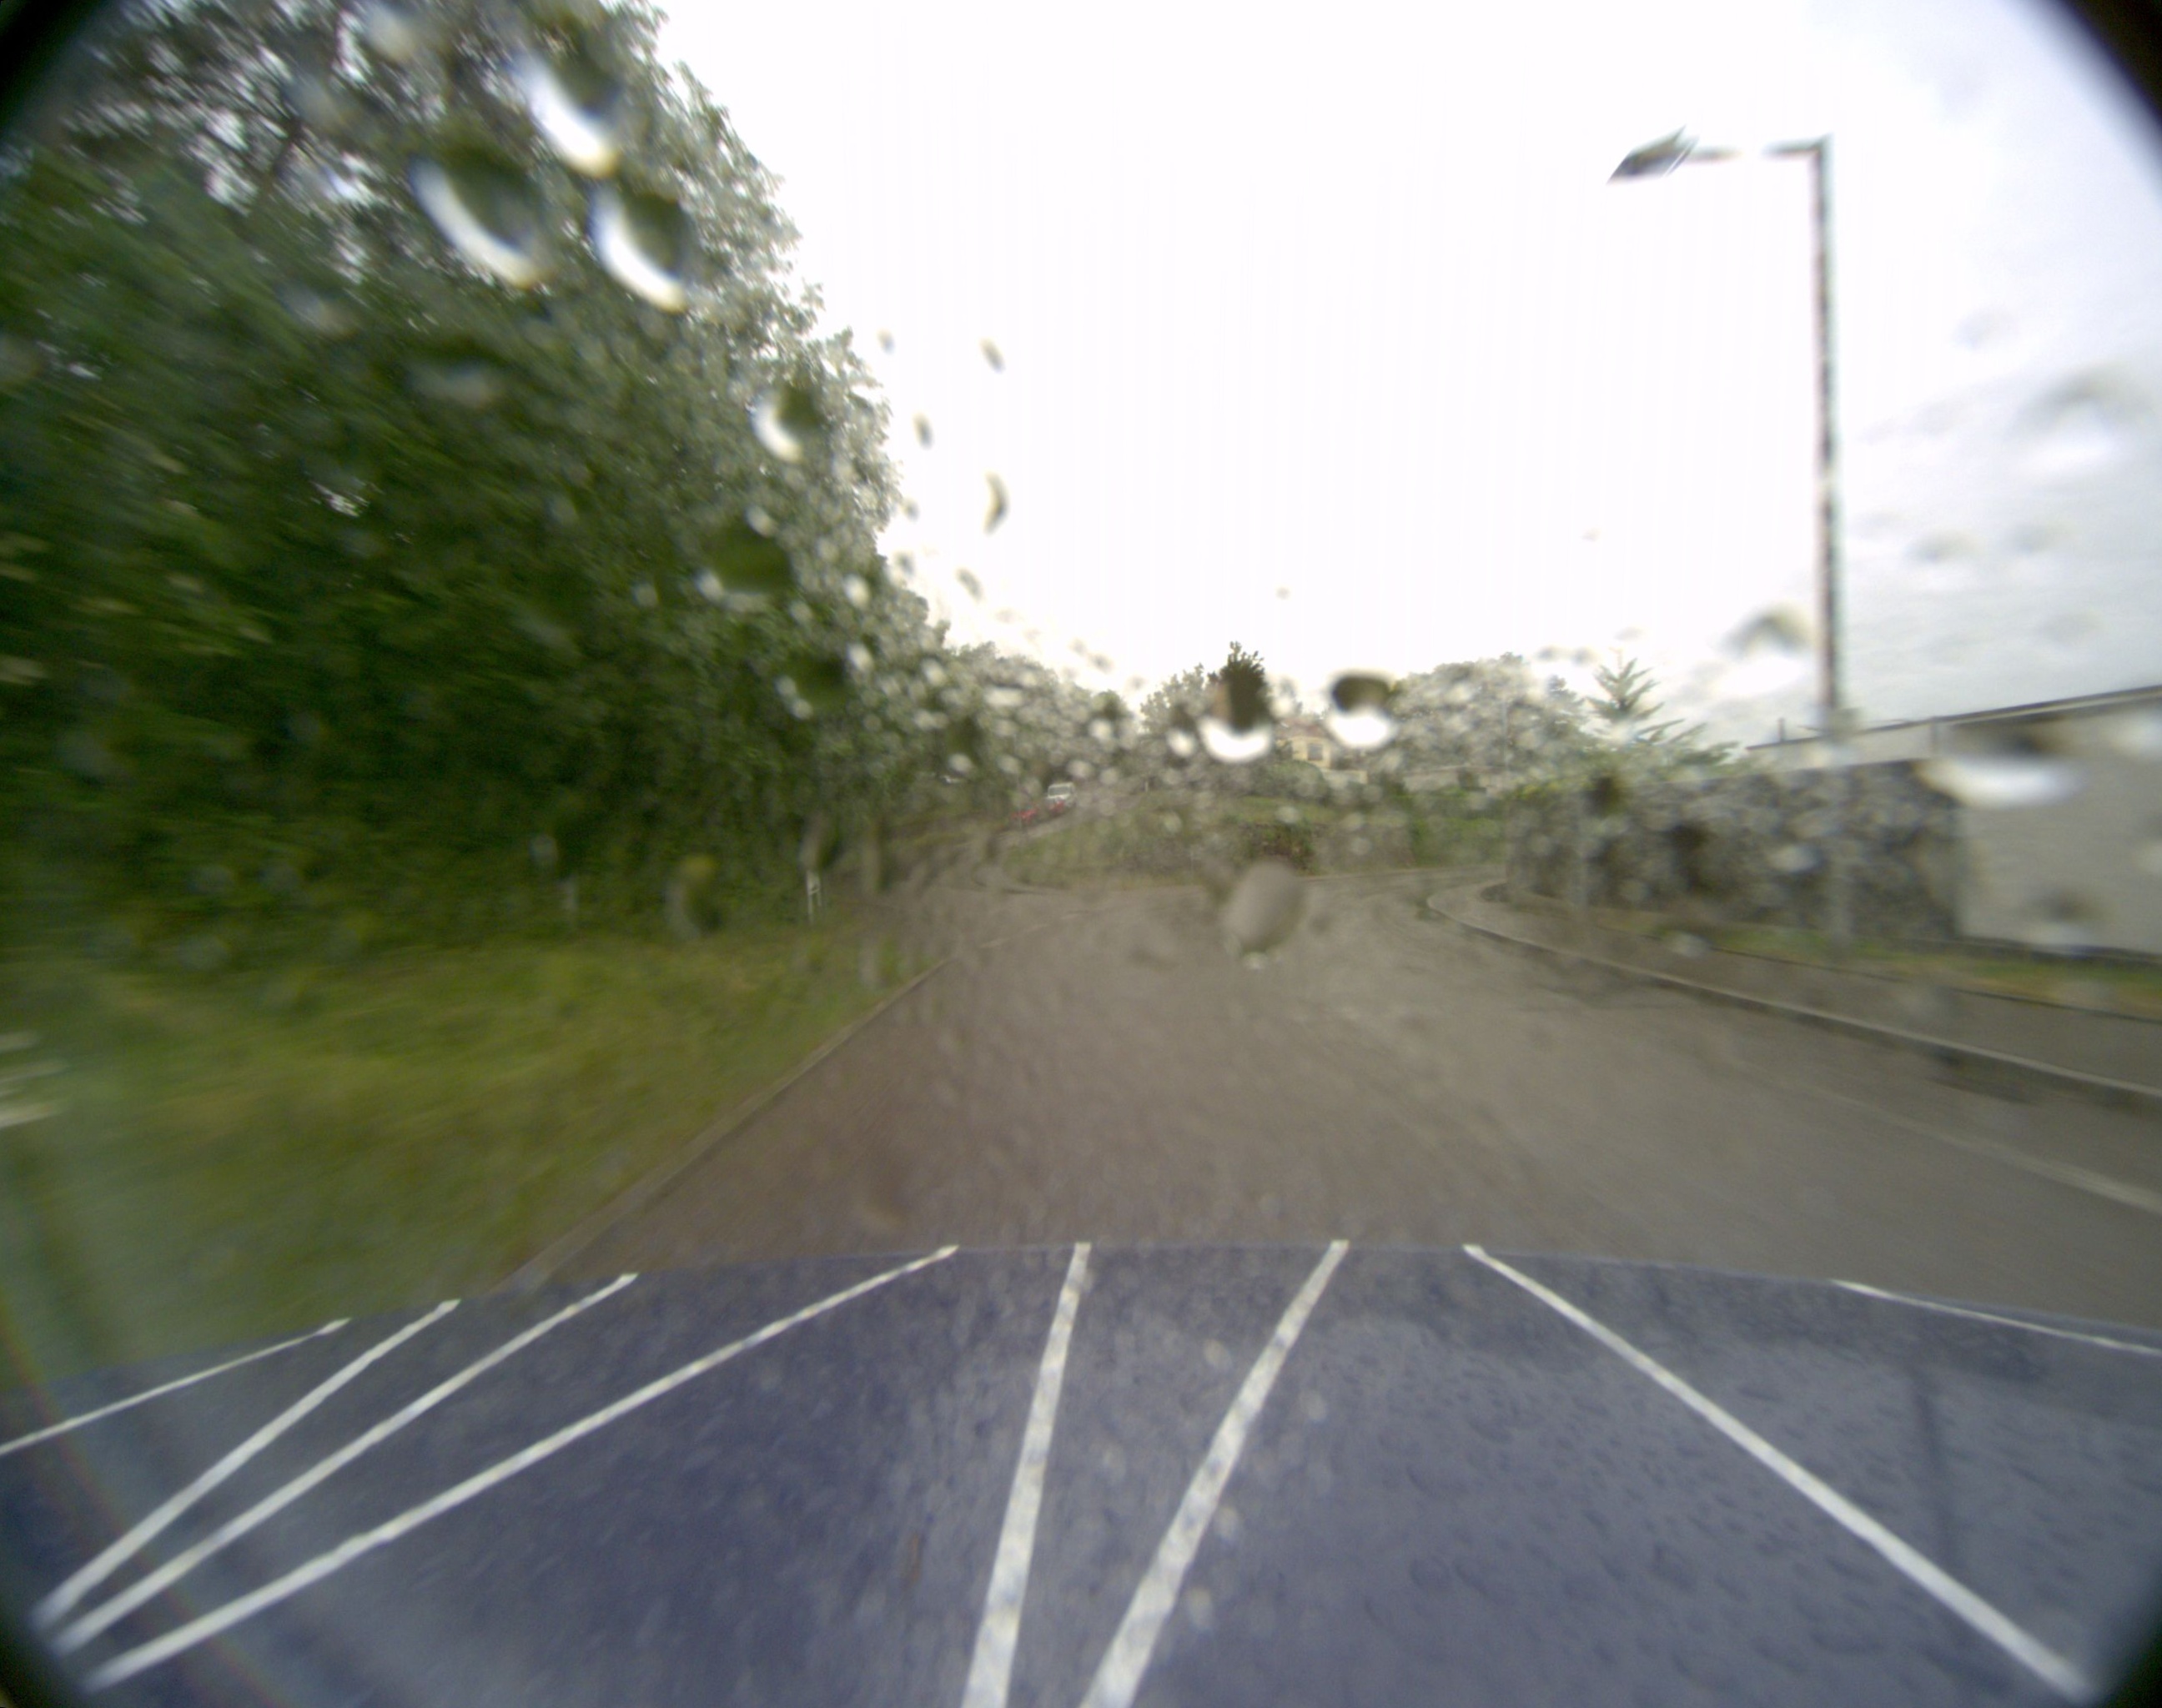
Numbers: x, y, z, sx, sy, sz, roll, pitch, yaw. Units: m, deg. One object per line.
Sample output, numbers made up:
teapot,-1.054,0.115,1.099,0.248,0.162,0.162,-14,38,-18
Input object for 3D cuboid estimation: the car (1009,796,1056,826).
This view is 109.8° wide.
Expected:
car,-3.262,-2.980,52.001,1.872,1.504,3.997,-1,11,17

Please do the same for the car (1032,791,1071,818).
car,-2.116,-3.695,56.145,1.873,1.399,3.996,-2,11,12

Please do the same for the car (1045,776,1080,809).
car,-1.465,-5.029,61.612,2.270,1.938,5.443,-3,11,4
